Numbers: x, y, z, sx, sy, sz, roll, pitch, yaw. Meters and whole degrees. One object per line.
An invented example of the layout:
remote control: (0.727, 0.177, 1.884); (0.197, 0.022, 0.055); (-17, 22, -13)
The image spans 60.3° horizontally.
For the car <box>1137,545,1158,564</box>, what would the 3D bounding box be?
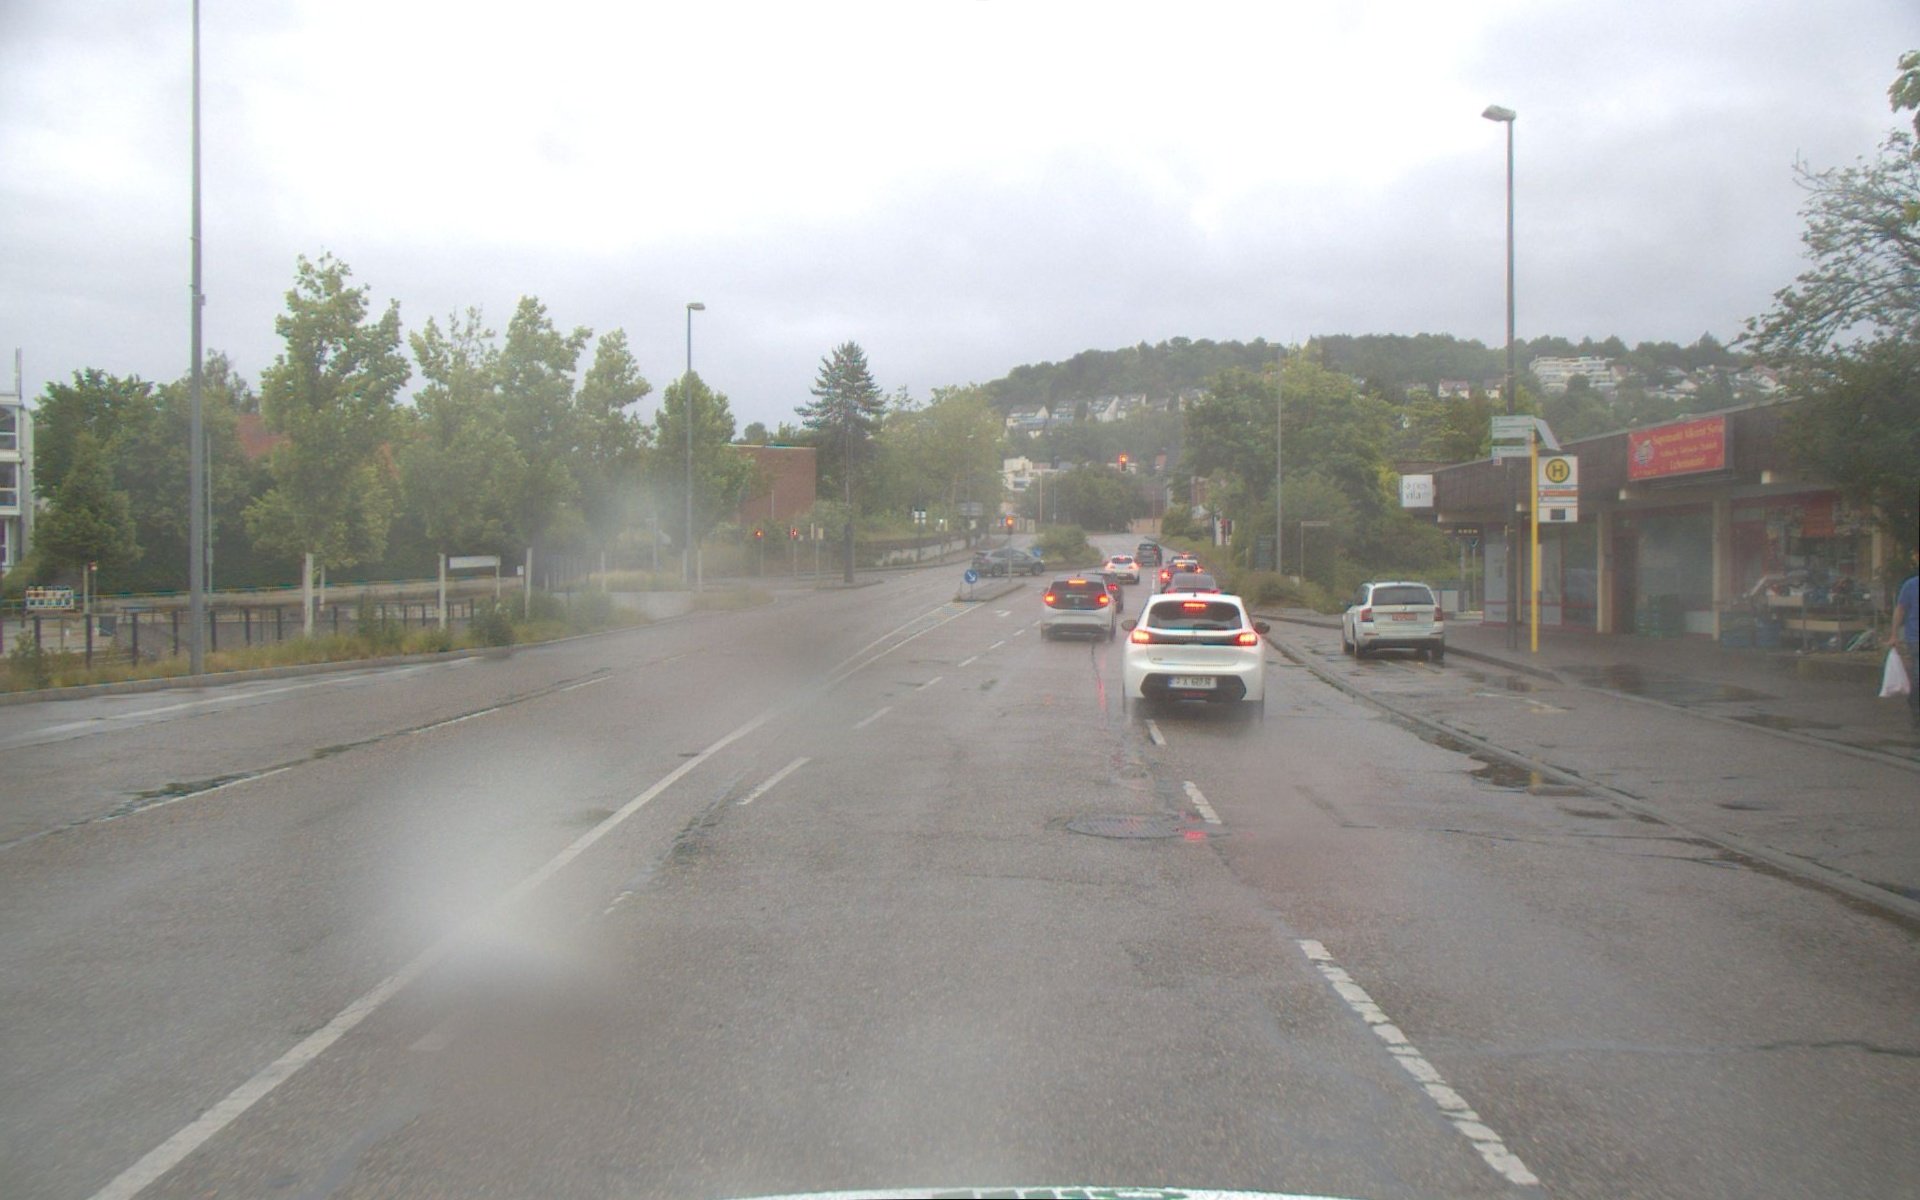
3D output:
car: (12.914, -3.135, 114.049); (1.337, 1.177, 2.428); (-1, -1, 4)

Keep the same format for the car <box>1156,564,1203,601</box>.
car: (9.843, -0.785, 74.307); (1.614, 1.511, 3.365); (-1, -1, 0)

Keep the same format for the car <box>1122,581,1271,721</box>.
car: (2.941, 0.551, 20.676); (1.655, 1.545, 3.936); (0, 1, 8)

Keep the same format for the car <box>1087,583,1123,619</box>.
car: (5.040, 0.051, 57.699); (1.187, 1.176, 2.271); (-1, -1, 4)

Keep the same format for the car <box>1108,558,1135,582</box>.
car: (8.562, -1.591, 87.631); (1.356, 1.146, 2.611); (-1, -1, 5)

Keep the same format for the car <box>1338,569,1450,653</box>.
car: (8.695, 0.178, 33.418); (1.693, 1.523, 4.484); (-2, 1, 9)

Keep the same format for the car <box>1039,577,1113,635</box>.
car: (2.845, 0.142, 40.126); (1.704, 1.318, 3.336); (-1, 0, 5)

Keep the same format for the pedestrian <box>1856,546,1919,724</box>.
pedestrian: (9.847, 0.336, 16.983); (0.857, 1.767, 0.760); (-2, 1, -1)

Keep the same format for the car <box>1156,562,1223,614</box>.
car: (7.167, -0.399, 51.943); (1.698, 1.411, 3.354); (1, 3, 1)
